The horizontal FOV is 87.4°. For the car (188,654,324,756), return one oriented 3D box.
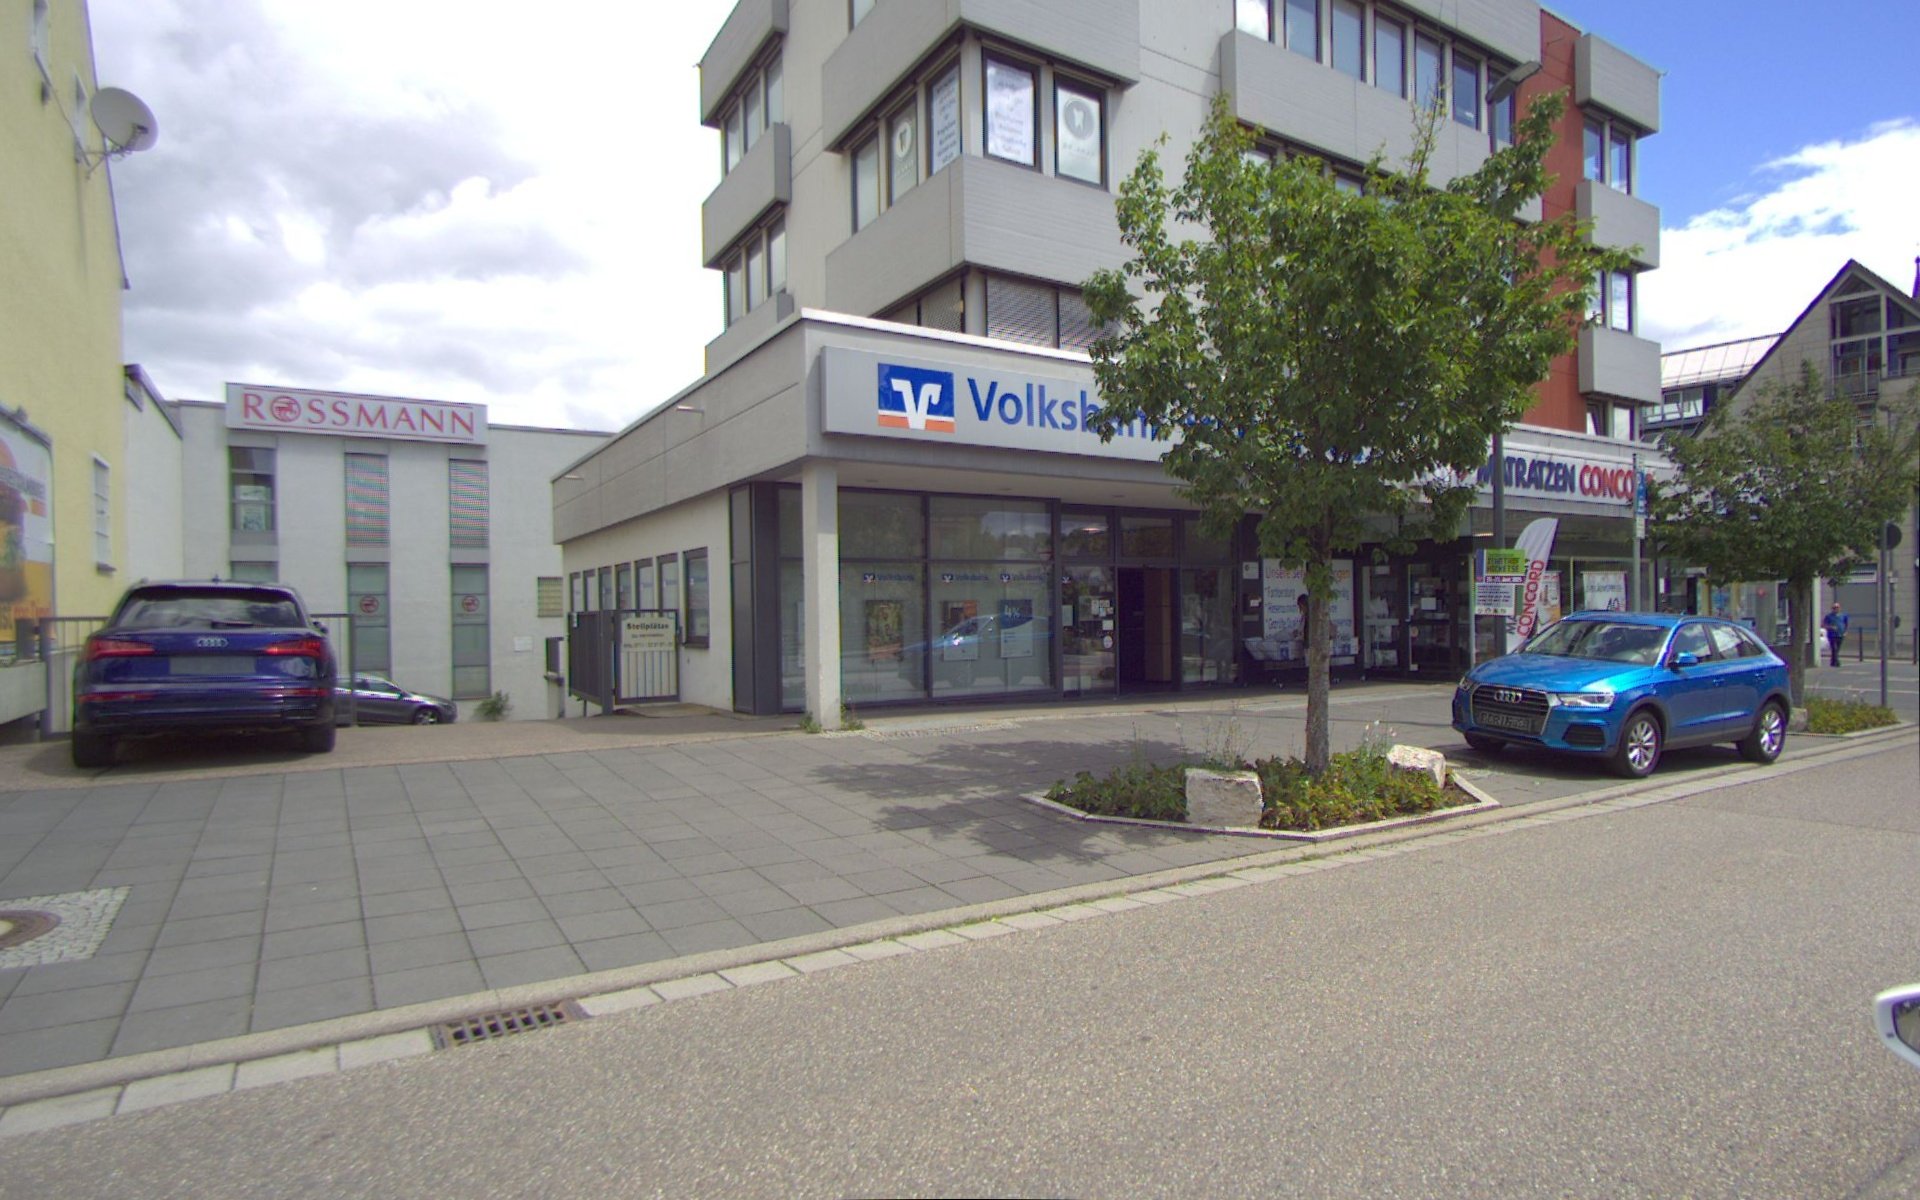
[{"bbox_3d":[-11.829,1.679,17.087,1.631,1.427,3.966,1,-2,-32],"label":"car"}]

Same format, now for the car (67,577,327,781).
[{"bbox_3d":[-7.149,0.631,9.750,1.650,1.579,3.607,1,-1,-32],"label":"car"}]

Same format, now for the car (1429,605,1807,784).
[{"bbox_3d":[7.383,0.931,11.190,4.279,1.621,1.687,1,2,-29],"label":"car"}]

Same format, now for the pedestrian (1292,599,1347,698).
[{"bbox_3d":[5.922,0.791,16.558,0.633,1.587,0.586,0,-2,-7],"label":"pedestrian"}]

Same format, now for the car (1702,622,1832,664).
[{"bbox_3d":[32.032,1.698,39.935,1.647,1.551,3.836,2,-3,-42],"label":"car"}]

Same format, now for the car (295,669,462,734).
[{"bbox_3d":[-16.711,2.947,28.962,3.874,1.594,1.655,8,-5,-38],"label":"car"}]

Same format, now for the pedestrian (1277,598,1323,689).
[{"bbox_3d":[6.026,0.767,17.803,0.580,1.587,0.507,1,-2,-30],"label":"pedestrian"}]

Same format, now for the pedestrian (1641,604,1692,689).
[{"bbox_3d":[13.721,0.882,19.503,0.631,1.609,0.584,1,0,-30],"label":"pedestrian"}]

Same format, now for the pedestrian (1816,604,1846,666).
[{"bbox_3d":[23.150,0.915,26.707,0.560,1.625,0.603,0,0,39],"label":"pedestrian"}]
